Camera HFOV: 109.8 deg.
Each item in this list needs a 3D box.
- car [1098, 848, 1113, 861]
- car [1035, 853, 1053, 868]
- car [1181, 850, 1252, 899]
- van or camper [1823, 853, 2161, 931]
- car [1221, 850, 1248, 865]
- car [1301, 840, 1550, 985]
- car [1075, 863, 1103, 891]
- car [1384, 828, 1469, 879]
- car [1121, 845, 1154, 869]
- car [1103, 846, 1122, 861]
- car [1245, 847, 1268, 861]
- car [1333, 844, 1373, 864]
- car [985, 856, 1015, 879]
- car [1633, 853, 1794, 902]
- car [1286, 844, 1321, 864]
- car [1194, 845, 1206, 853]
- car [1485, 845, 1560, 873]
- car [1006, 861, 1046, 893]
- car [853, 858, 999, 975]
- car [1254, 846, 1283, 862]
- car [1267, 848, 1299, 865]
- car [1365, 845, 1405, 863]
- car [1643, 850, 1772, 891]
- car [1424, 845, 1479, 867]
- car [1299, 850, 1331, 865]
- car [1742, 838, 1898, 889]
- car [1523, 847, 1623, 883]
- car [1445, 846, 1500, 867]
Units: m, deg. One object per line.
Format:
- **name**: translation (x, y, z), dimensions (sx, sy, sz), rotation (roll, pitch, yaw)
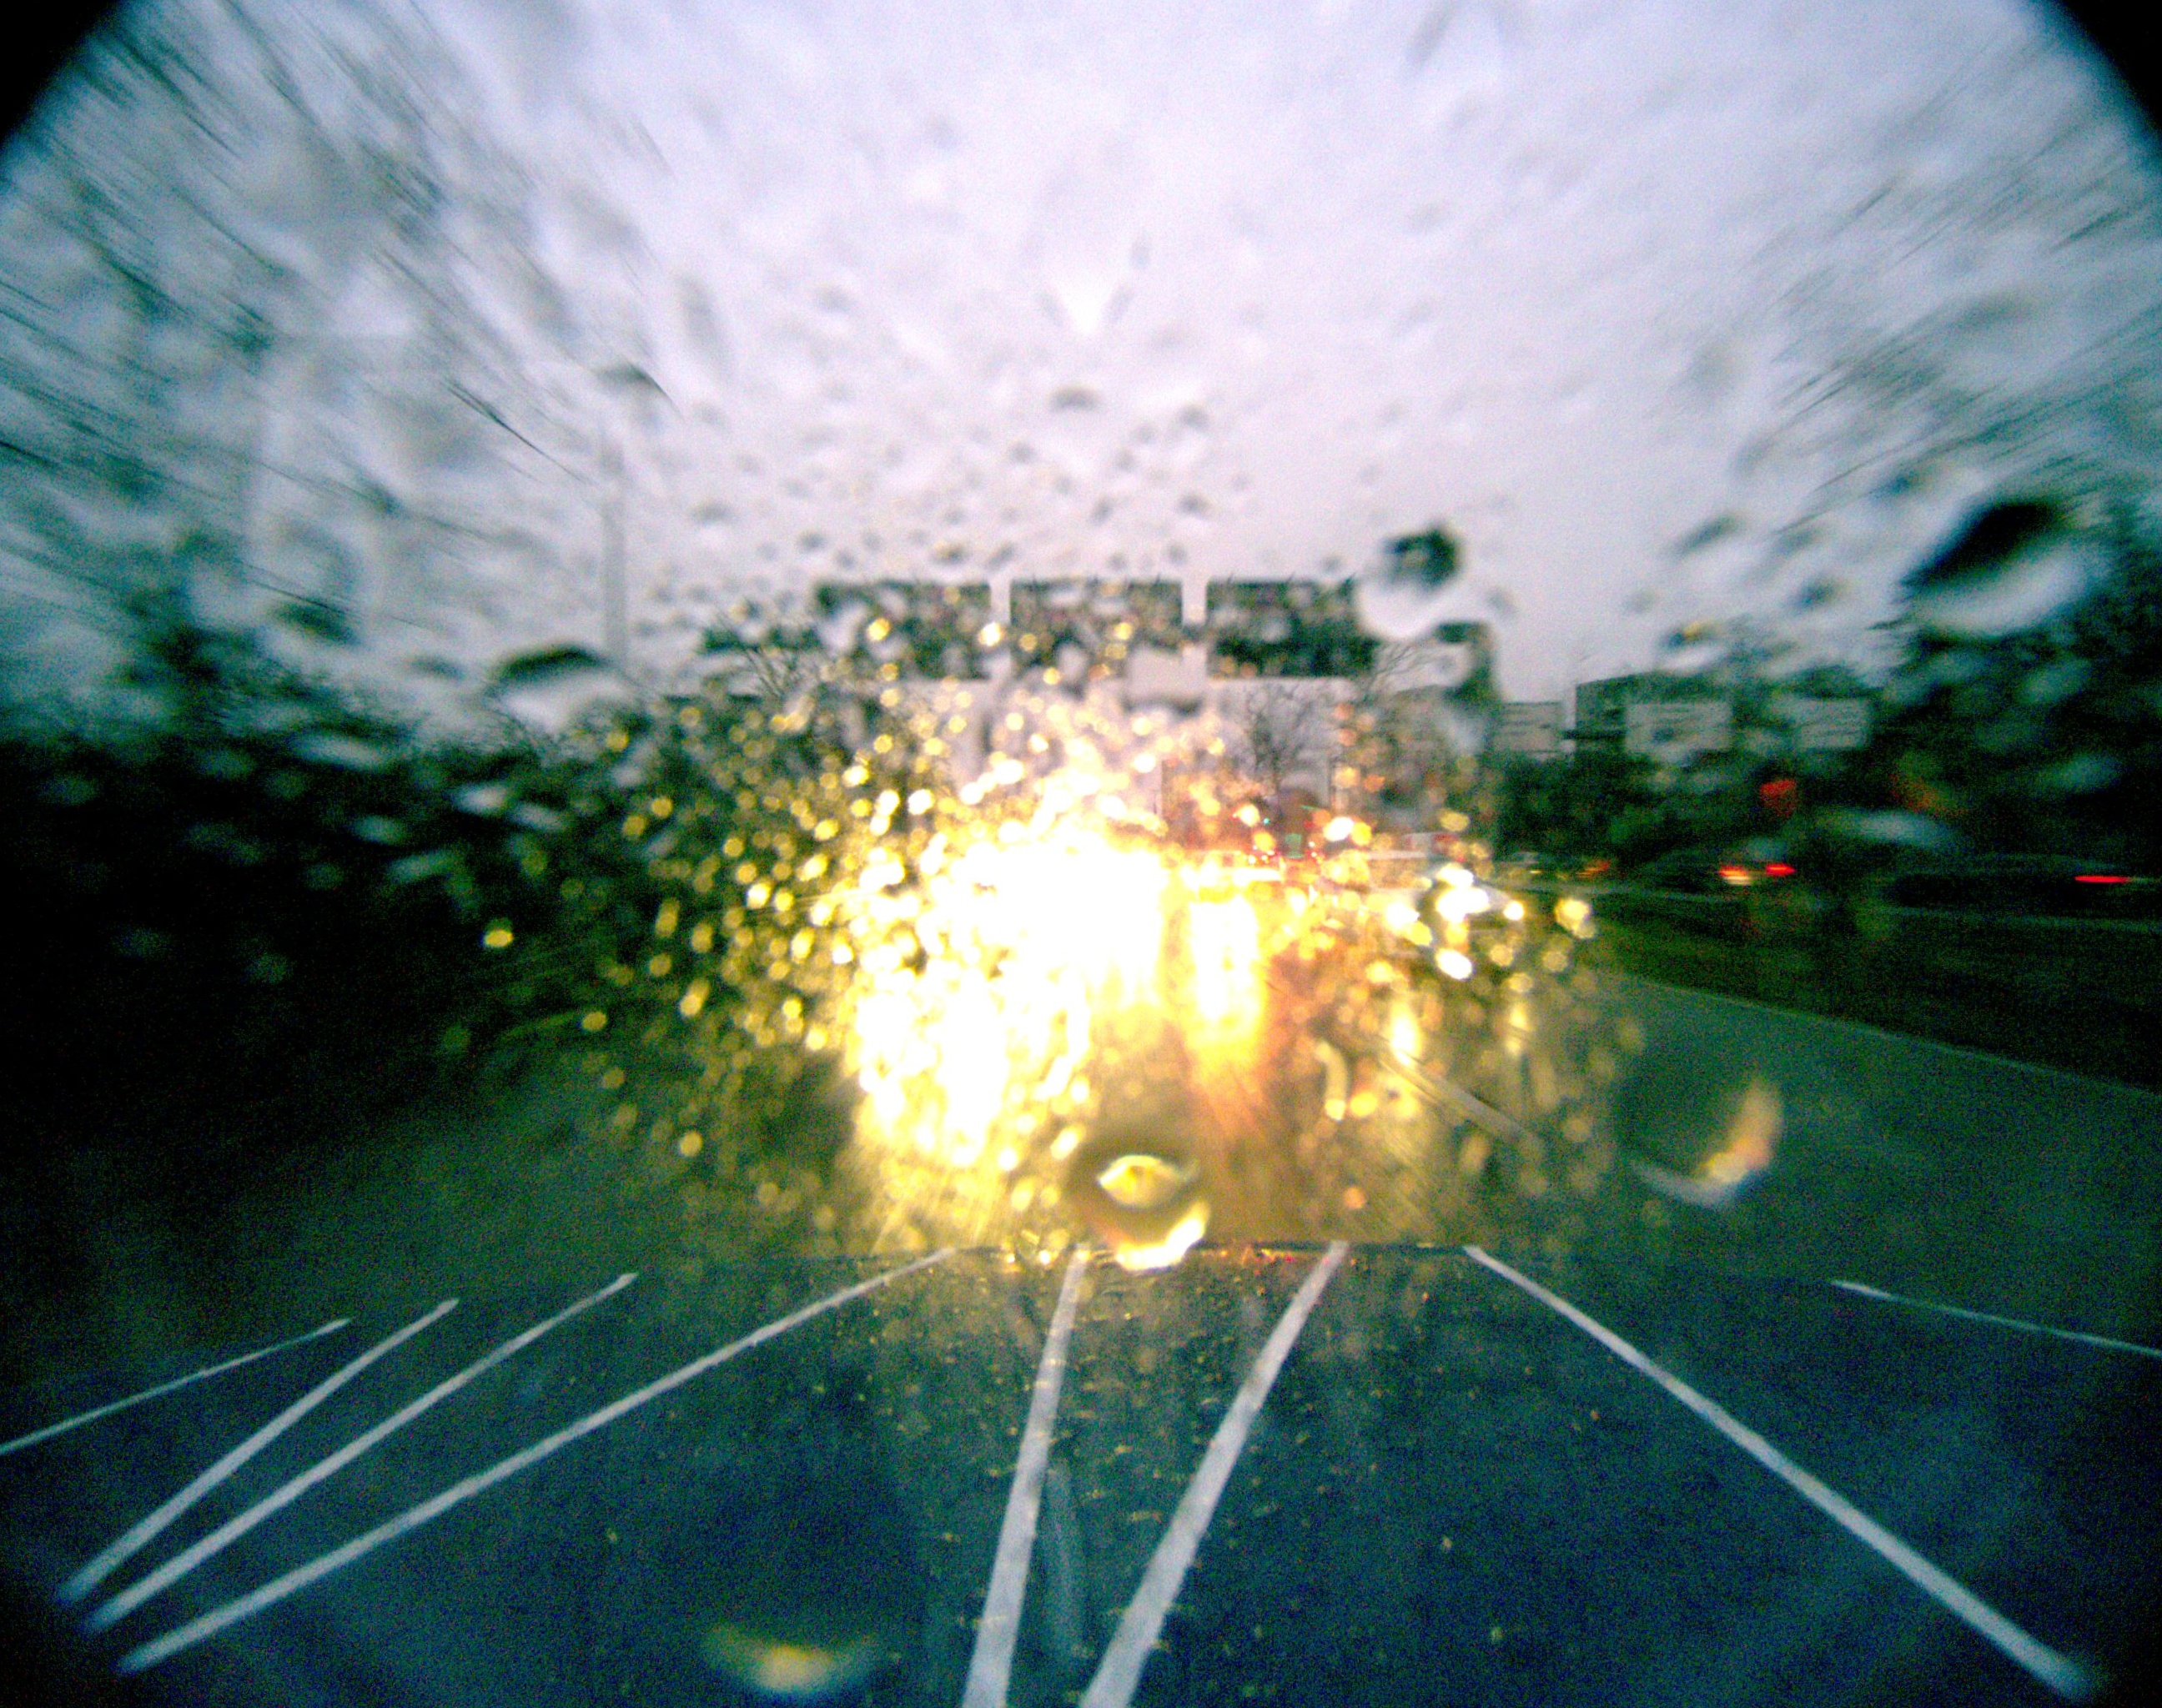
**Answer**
- **car**: translation (3.363, 0.080, 106.223), dimensions (1.998, 1.605, 3.999), rotation (-2, 2, 1)
- **car**: translation (-3.415, 0.577, 70.120), dimensions (1.636, 1.302, 3.998), rotation (-1, 1, -2)
- **car**: translation (4.708, 0.660, 26.970), dimensions (1.694, 1.530, 4.189), rotation (-2, 1, -1)
- **van or camper**: translation (20.938, 0.757, 17.899), dimensions (1.909, 1.438, 5.157), rotation (-2, 1, 0)
- **car**: translation (15.823, 0.318, 78.512), dimensions (1.774, 1.528, 4.840), rotation (-1, 1, 0)
- **car**: translation (4.565, 0.644, 10.806), dimensions (1.718, 1.638, 4.146), rotation (-1, 1, 1)
- **car**: translation (0.489, 1.447, 49.589), dimensions (1.679, 1.590, 4.043), rotation (-1, 1, -1)
- **car**: translation (22.159, -0.109, 49.183), dimensions (2.297, 2.988, 7.345), rotation (-2, 2, 2)
- **car**: translation (3.937, 0.174, 53.671), dimensions (1.953, 1.590, 4.123), rotation (-1, 1, -1)
- **car**: translation (3.715, -0.065, 89.792), dimensions (1.998, 1.652, 3.999), rotation (-2, 2, 0)
- **car**: translation (19.198, -0.017, 83.275), dimensions (1.656, 1.412, 3.325), rotation (-1, 1, 0)
- **car**: translation (22.276, -0.038, 62.296), dimensions (1.774, 1.528, 4.446), rotation (-1, 1, 1)
- **car**: translation (-6.003, 0.998, 56.915), dimensions (1.972, 1.610, 4.546), rotation (0, 1, -3)
- **car**: translation (21.676, 0.730, 26.323), dimensions (1.909, 1.438, 4.441), rotation (-2, 1, 0)
- **car**: translation (18.897, -0.017, 64.606), dimensions (1.774, 1.577, 4.032), rotation (-1, 1, 0)
- **car**: translation (23.955, -0.978, 153.032), dimensions (1.774, 1.544, 3.946), rotation (-1, 1, -1)
- **car**: translation (25.043, 0.245, 43.304), dimensions (1.909, 1.438, 4.089), rotation (-2, 1, 0)
- **car**: translation (-2.818, 1.104, 38.294), dimensions (1.882, 1.368, 4.752), rotation (-1, 1, -5)
- **car**: translation (-2.522, 0.935, 13.432), dimensions (1.820, 1.609, 4.409), rotation (-1, 1, -3)
- **car**: translation (18.979, 0.013, 77.039), dimensions (1.861, 1.589, 4.286), rotation (-1, 1, 0)
- **car**: translation (18.725, 0.222, 70.719), dimensions (1.774, 1.524, 4.524), rotation (-1, 1, 0)
- **car**: translation (25.694, -0.038, 64.335), dimensions (1.760, 1.390, 3.999), rotation (-1, 1, 0)
- **car**: translation (24.856, 0.589, 30.368), dimensions (1.740, 1.438, 4.171), rotation (-2, 1, 0)
- **car**: translation (24.982, 0.092, 51.398), dimensions (1.760, 1.390, 3.999), rotation (-1, 1, 0)
- **car**: translation (23.541, 0.350, 76.569), dimensions (1.774, 1.481, 4.649), rotation (-1, 1, 0)
- **car**: translation (29.263, 0.321, 30.319), dimensions (1.998, 1.840, 4.426), rotation (-2, 1, 2)
- **car**: translation (22.060, 0.438, 34.323), dimensions (1.908, 1.438, 4.456), rotation (-1, 1, 5)
- **car**: translation (29.474, 0.183, 57.377), dimensions (1.909, 1.438, 4.441), rotation (-2, 1, 0)
